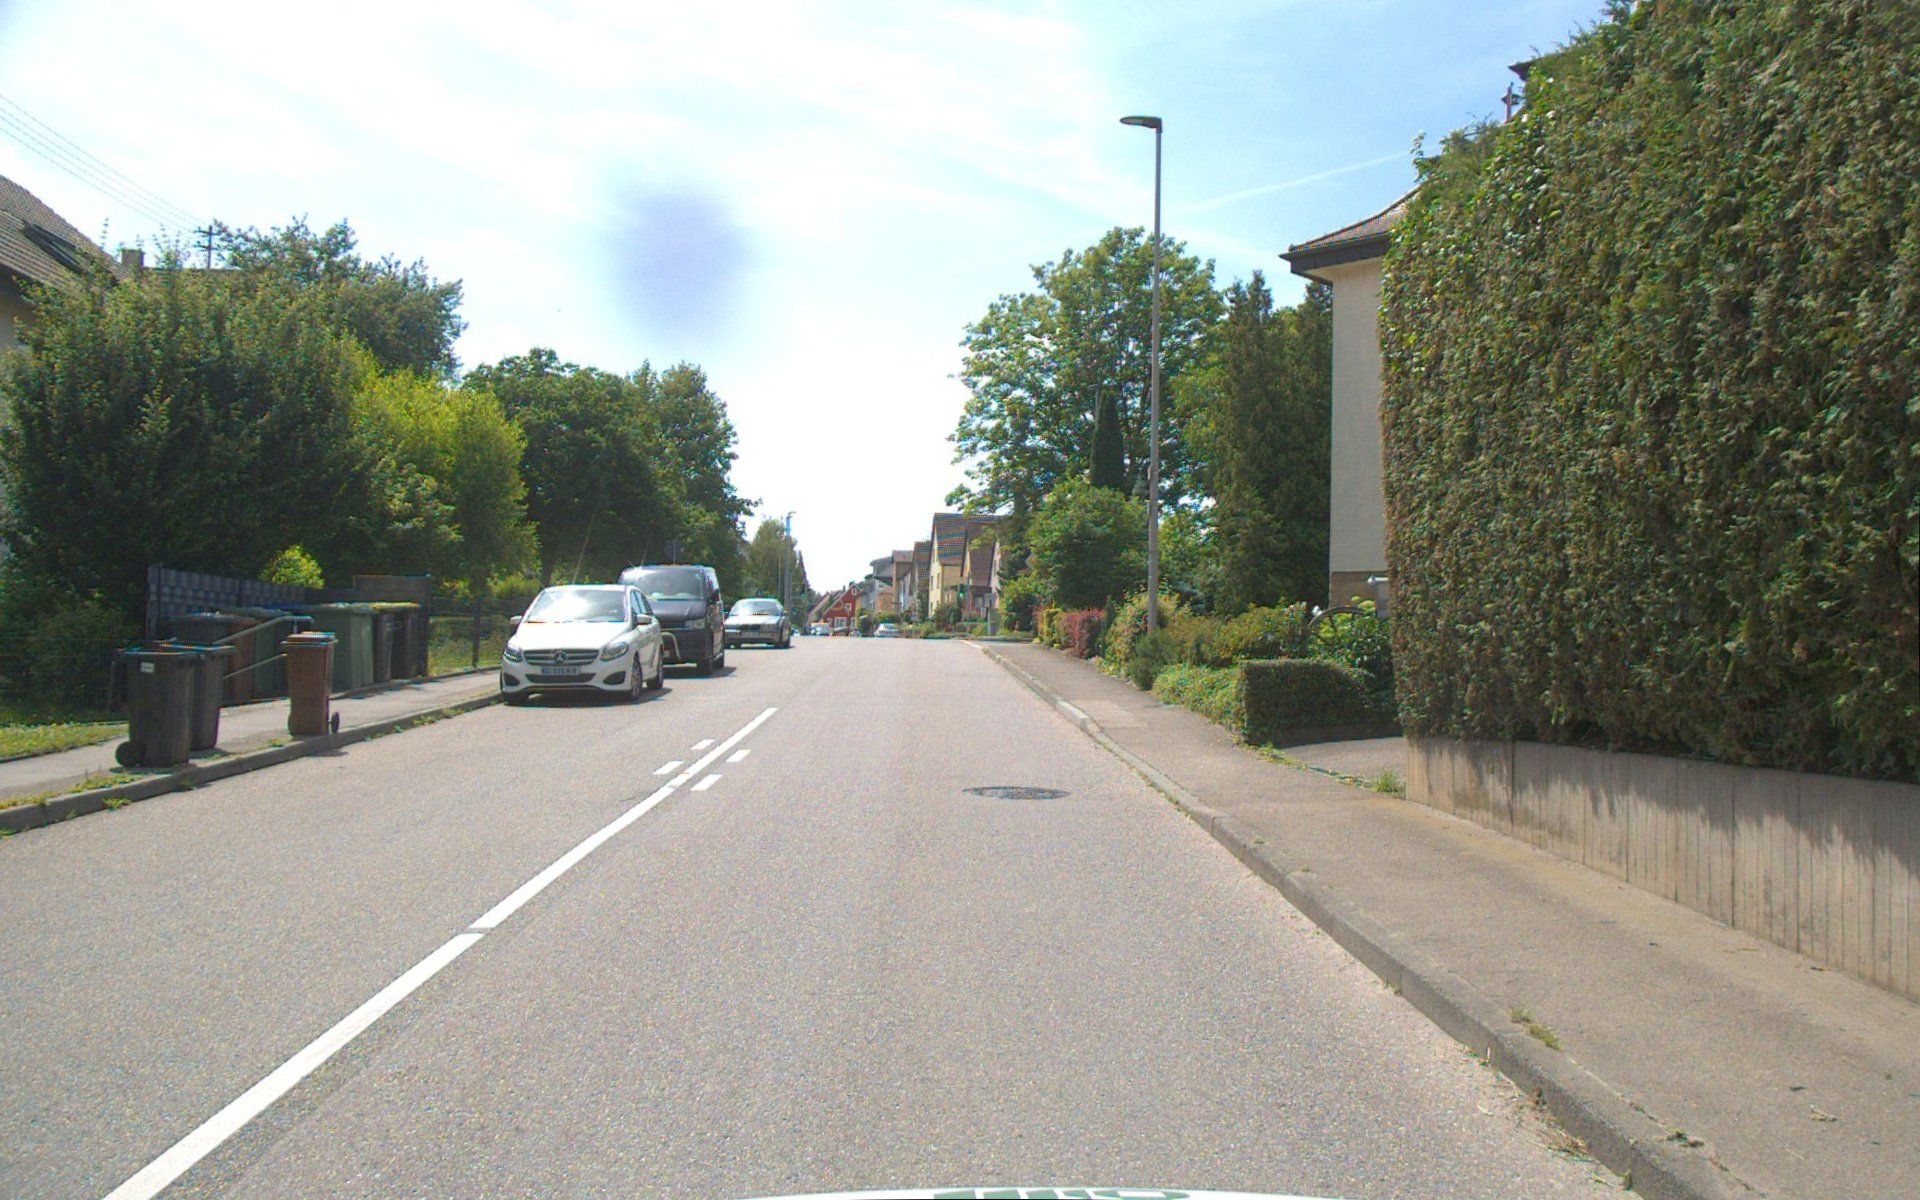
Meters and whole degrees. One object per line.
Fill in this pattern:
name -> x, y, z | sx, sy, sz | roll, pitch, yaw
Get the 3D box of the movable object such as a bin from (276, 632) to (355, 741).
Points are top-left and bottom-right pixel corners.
movable object such as a bin -> -6.134, 0.817, 15.760 | 0.495, 1.005, 0.563 | 0, 0, 5

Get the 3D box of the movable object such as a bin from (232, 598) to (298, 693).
movable object such as a bin -> -8.990, 0.577, 21.420 | 0.466, 1.198, 0.840 | 0, 0, 4

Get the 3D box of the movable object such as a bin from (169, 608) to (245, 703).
movable object such as a bin -> -9.055, 0.657, 19.903 | 0.590, 1.115, 0.650 | 0, 0, 5

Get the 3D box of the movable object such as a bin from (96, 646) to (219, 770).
movable object such as a bin -> -6.366, 0.846, 13.144 | 0.606, 0.933, 0.686 | 0, 0, 5

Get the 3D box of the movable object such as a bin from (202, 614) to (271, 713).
movable object such as a bin -> -9.022, 0.782, 20.631 | 0.535, 1.198, 0.674 | 0, 0, 4

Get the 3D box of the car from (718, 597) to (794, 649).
car -> -5.834, 0.660, 47.815 | 1.744, 1.419, 4.407 | -1, -1, -1

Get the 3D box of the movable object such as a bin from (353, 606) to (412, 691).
movable object such as a bin -> -7.865, 0.658, 22.538 | 0.486, 1.124, 0.710 | -2, -1, 5

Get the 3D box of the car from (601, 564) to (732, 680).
car -> -5.386, 0.358, 30.879 | 1.859, 1.954, 4.866 | -1, 0, -4

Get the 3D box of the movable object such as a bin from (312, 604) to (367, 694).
movable object such as a bin -> -7.953, 0.621, 21.212 | 0.506, 1.124, 0.529 | -2, -1, -3

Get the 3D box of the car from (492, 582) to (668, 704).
car -> -5.311, 0.553, 23.621 | 1.775, 1.576, 4.240 | 0, 0, -4

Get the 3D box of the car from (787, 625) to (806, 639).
car -> -19.315, 3.746, 195.467 | 2.068, 1.588, 4.310 | 0, -2, -4

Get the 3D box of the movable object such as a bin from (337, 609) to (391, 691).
movable object such as a bin -> -7.869, 0.659, 21.848 | 0.446, 1.062, 0.561 | -2, -1, 5

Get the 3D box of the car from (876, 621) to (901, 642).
car -> -5.789, 2.511, 133.500 | 1.954, 1.631, 3.998 | 0, 0, -3

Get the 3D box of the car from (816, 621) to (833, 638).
car -> -13.334, 2.892, 162.411 | 1.505, 1.568, 4.298 | 1, -1, -6

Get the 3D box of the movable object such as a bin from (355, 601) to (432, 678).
movable object such as a bin -> -8.215, 0.567, 24.012 | 0.881, 1.088, 0.695 | 0, 0, -2

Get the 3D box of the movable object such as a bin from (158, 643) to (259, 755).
movable object such as a bin -> -6.525, 0.847, 14.376 | 0.551, 0.933, 0.643 | 0, 0, 5
